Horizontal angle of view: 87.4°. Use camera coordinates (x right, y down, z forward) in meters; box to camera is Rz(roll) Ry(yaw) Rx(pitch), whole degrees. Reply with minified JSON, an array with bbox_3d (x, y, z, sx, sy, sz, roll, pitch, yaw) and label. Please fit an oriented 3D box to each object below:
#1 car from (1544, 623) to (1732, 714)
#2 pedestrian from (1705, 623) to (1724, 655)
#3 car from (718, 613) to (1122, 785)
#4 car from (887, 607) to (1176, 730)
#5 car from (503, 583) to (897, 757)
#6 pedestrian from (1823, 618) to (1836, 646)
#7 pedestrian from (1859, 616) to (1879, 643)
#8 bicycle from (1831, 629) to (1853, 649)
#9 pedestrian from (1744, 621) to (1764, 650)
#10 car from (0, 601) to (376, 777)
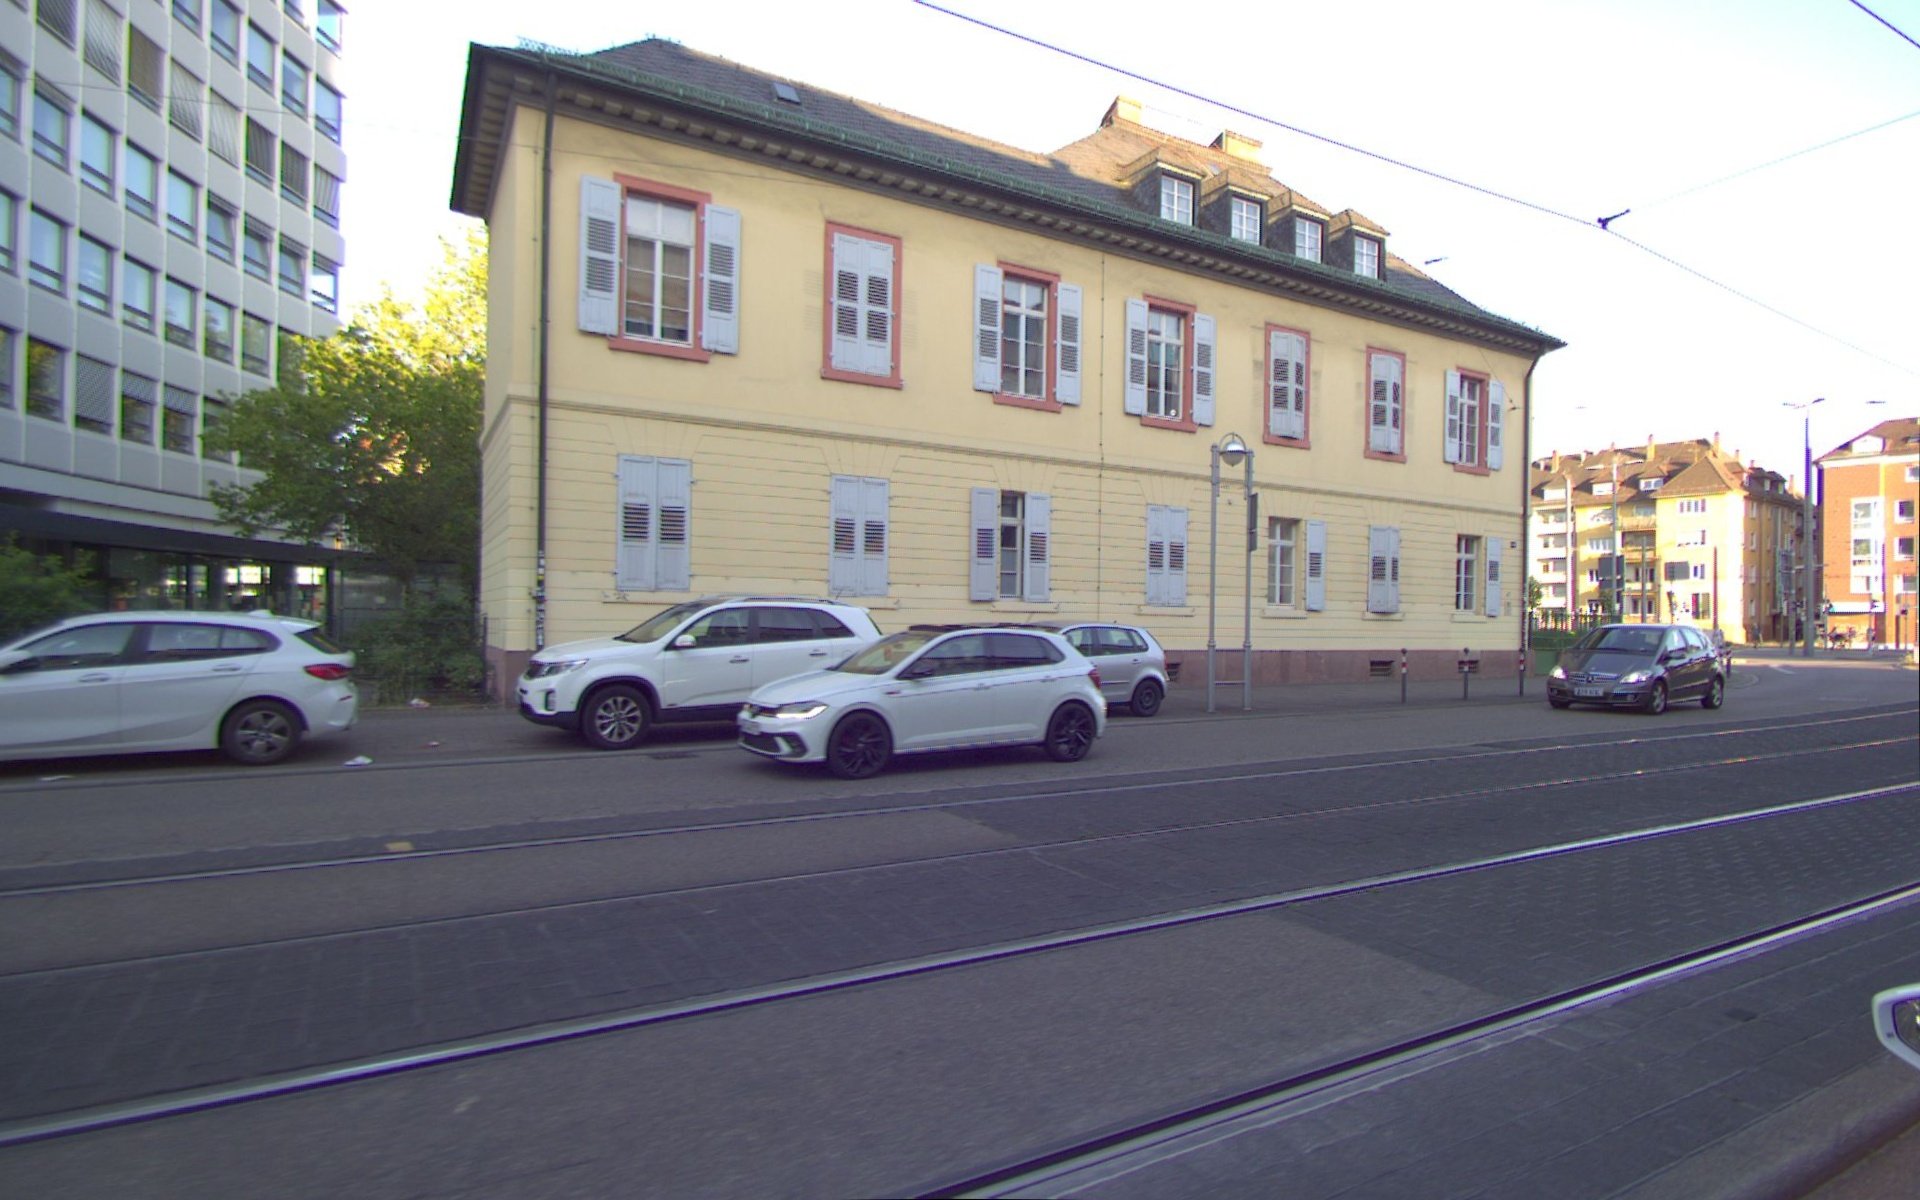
[{"bbox_3d":[12.822,1.217,18.921,3.996,1.532,1.723,1,-1,-37],"label":"car"},{"bbox_3d":[45.619,2.328,60.728,0.872,1.893,0.972,0,-1,39],"label":"pedestrian"},{"bbox_3d":[-0.368,0.930,10.797,3.990,1.532,1.797,1,-1,-32],"label":"car"},{"bbox_3d":[1.138,0.957,15.527,4.165,1.639,1.804,1,1,-30],"label":"car"},{"bbox_3d":[-3.187,0.775,12.634,4.448,1.809,1.802,1,2,-32],"label":"car"},{"bbox_3d":[58.474,2.154,67.535,0.557,1.893,0.499,1,1,-35],"label":"pedestrian"},{"bbox_3d":[66.278,2.139,73.258,0.831,1.893,0.932,1,1,-39],"label":"pedestrian"},{"bbox_3d":[59.051,2.609,67.262,1.995,1.343,0.614,1,1,-34],"label":"bicycle"},{"bbox_3d":[55.414,2.487,70.087,1.084,1.970,1.020,0,-1,41],"label":"pedestrian"},{"bbox_3d":[-8.268,0.795,9.767,4.377,1.532,1.805,1,-1,-29],"label":"car"}]
